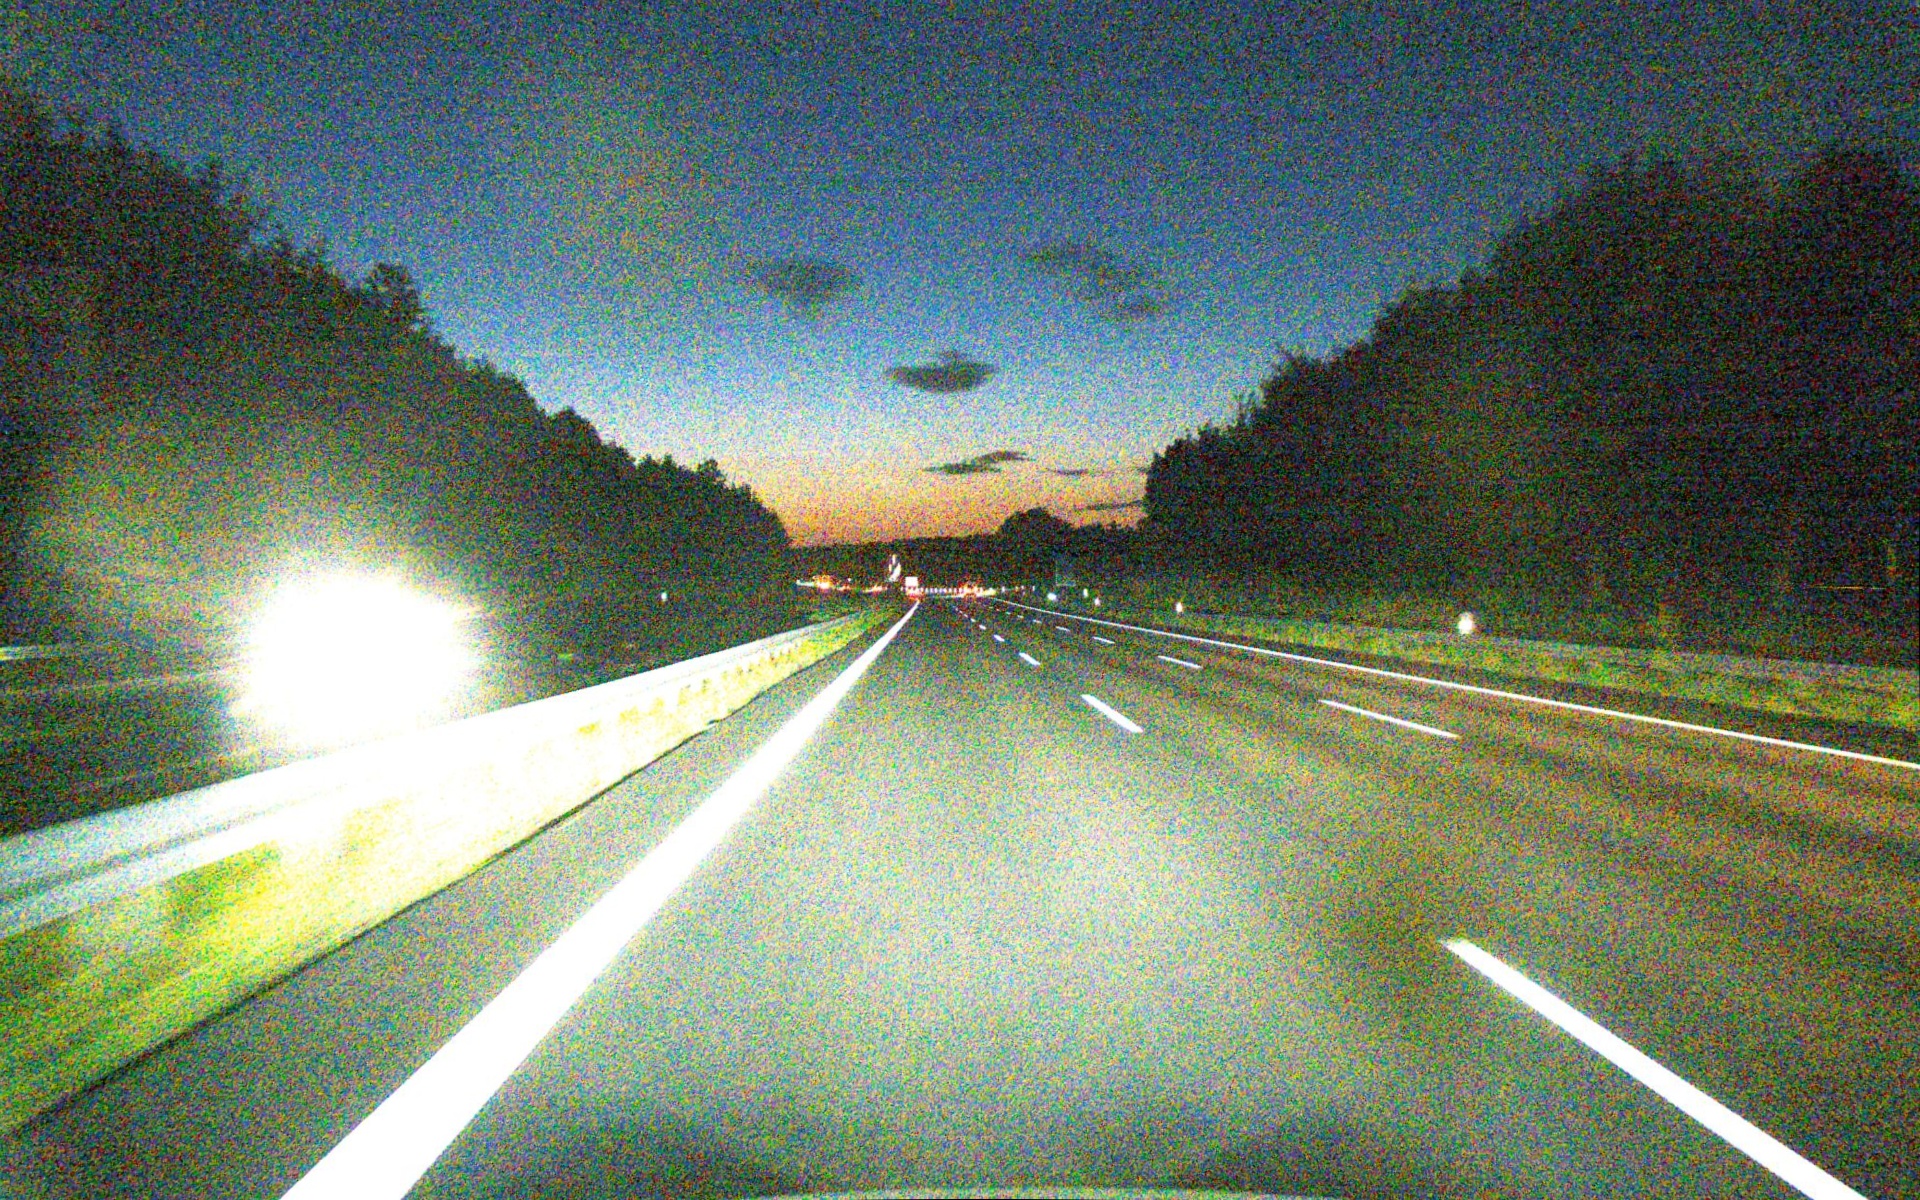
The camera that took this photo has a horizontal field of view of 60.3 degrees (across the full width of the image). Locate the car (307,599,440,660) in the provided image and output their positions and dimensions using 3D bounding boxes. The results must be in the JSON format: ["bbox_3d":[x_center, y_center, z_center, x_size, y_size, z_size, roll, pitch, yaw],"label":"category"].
[{"bbox_3d":[-16.420,0.780,46.604,1.953,1.530,5.199,-2,0,-1],"label":"car"}]
